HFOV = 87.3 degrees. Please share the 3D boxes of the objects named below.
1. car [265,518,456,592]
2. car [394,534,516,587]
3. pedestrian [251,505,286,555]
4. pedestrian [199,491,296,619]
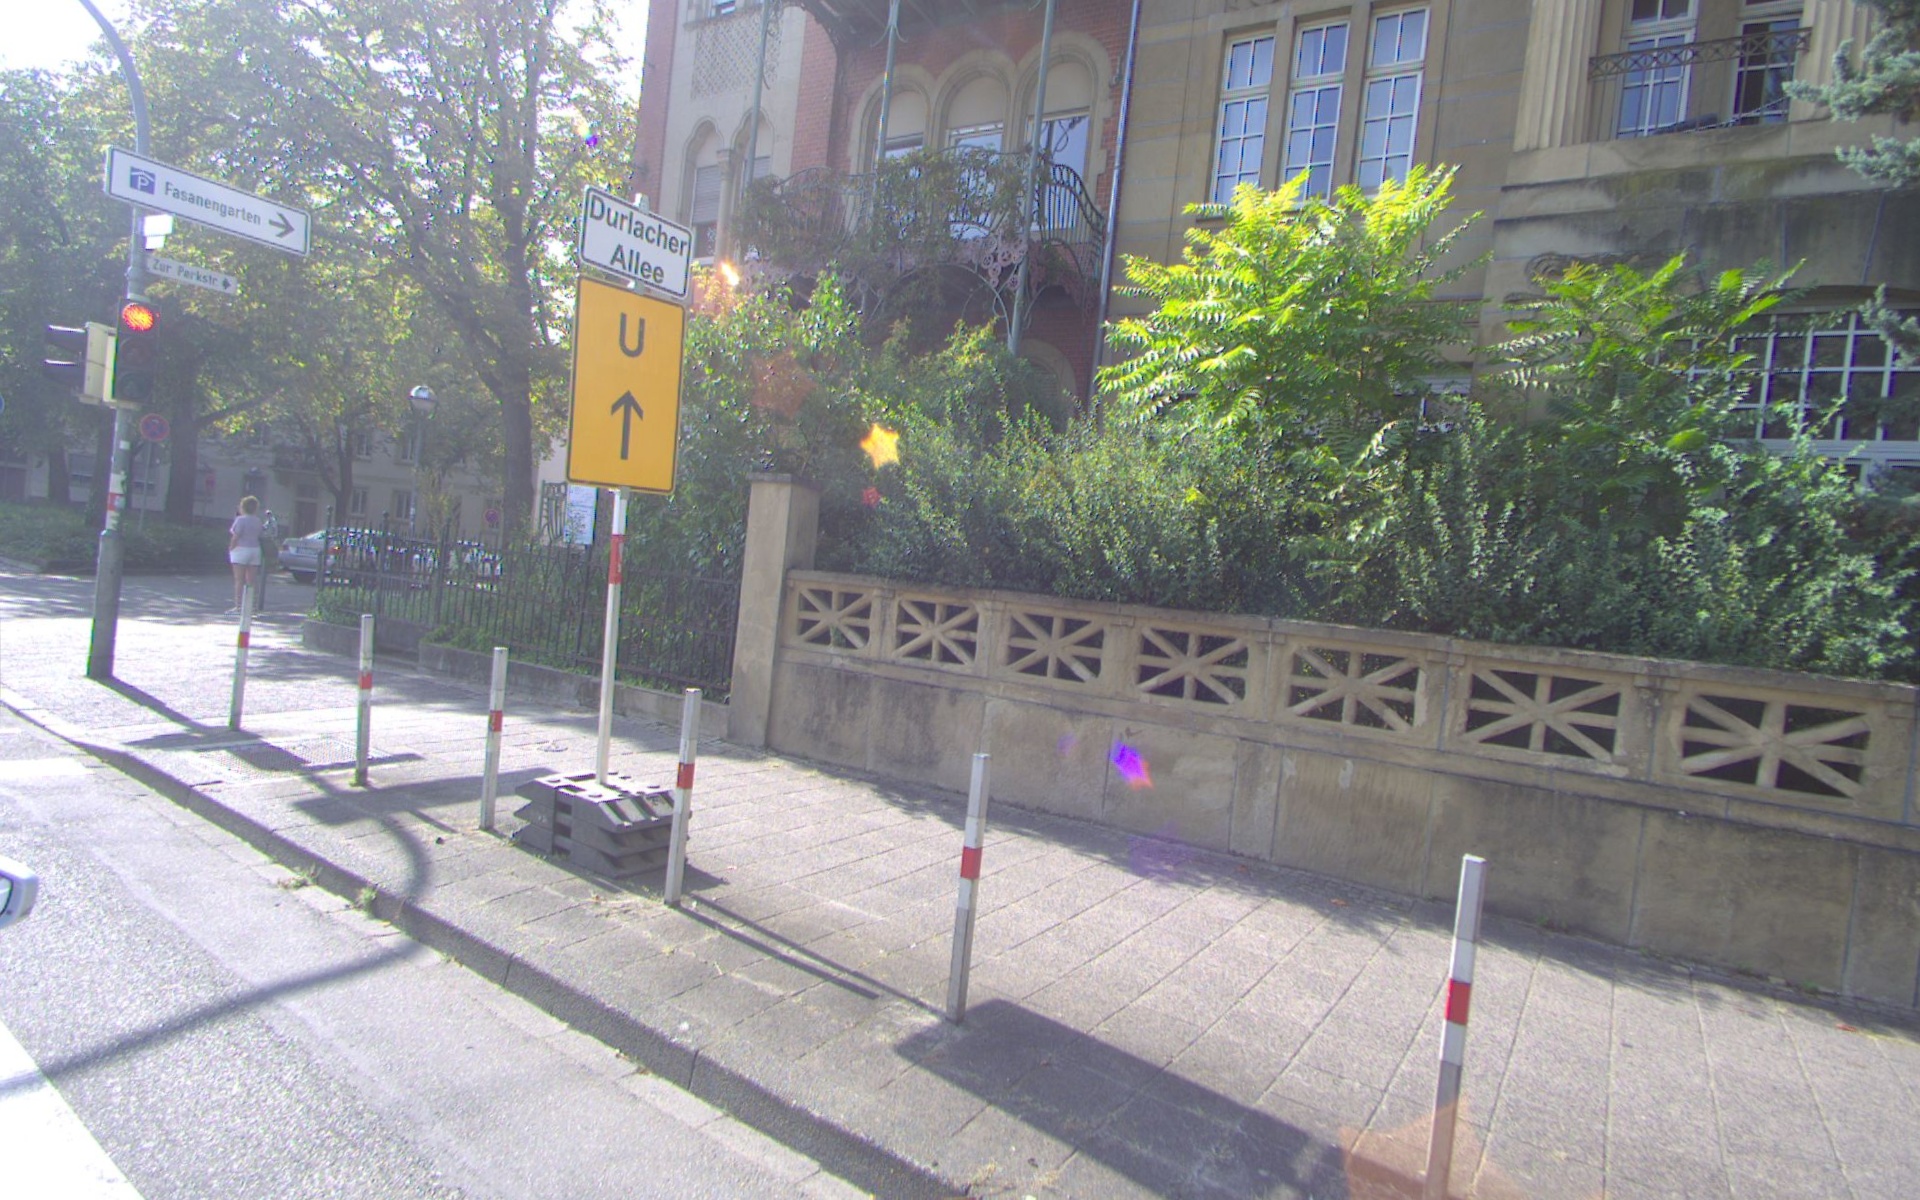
[{"bbox_3d":[-15.432,-1.093,26.260,1.835,1.484,4.787,7,0,3],"label":"car"},{"bbox_3d":[-18.905,-1.478,37.644,4.070,1.447,1.757,7,1,22],"label":"car"},{"bbox_3d":[-25.927,-2.612,37.716,0.887,1.762,0.767,5,1,-40],"label":"pedestrian"},{"bbox_3d":[-10.462,-0.646,14.779,0.757,1.753,0.752,7,1,22],"label":"pedestrian"}]
